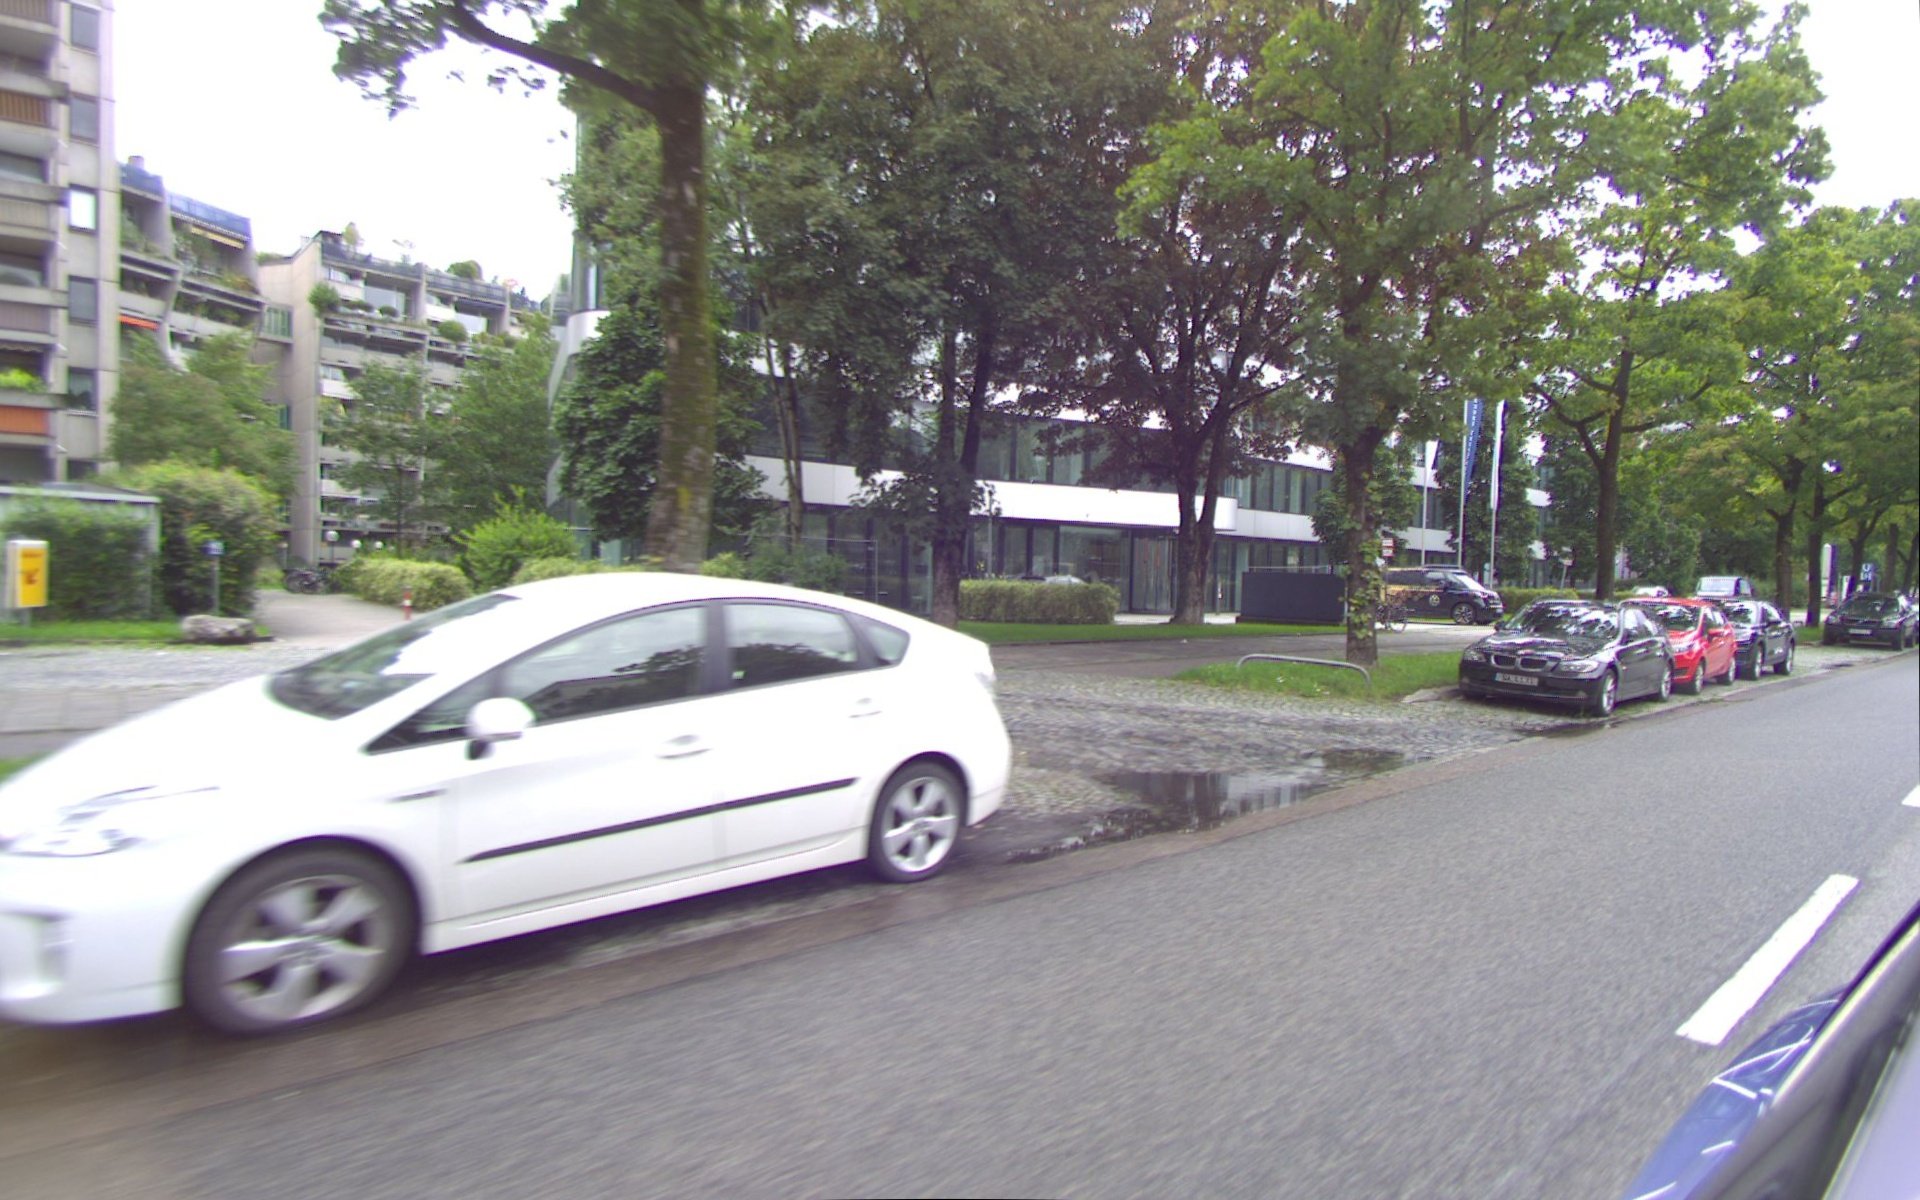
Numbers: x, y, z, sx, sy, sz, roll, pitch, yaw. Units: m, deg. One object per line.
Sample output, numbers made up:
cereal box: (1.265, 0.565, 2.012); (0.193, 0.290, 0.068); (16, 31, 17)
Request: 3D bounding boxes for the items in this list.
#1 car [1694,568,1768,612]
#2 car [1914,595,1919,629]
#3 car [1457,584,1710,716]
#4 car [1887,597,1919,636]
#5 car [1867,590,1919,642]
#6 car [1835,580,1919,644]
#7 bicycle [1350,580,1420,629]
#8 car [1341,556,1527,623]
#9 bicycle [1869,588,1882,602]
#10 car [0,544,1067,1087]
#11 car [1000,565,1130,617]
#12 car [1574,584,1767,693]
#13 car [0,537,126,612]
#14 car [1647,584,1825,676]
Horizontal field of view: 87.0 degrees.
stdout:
car: (44.059, -0.560, 57.745); (6.162, 2.335, 2.268); (0, 3, -43)
car: (42.839, 0.532, 43.878); (4.048, 1.438, 1.705); (0, 3, -41)
car: (8.777, 0.583, 14.088); (4.502, 1.471, 1.679); (0, 4, -41)
car: (38.023, 0.664, 39.694); (4.430, 1.425, 1.707); (0, 2, -38)
car: (34.034, 0.541, 36.012); (4.713, 1.696, 1.818); (0, 2, -39)
car: (29.523, 0.334, 32.167); (4.776, 1.822, 1.896); (0, 3, -41)
bicycle: (10.952, 0.096, 26.053); (2.207, 1.197, 0.750); (0, 2, -41)
car: (16.428, -0.430, 35.377); (2.109, 2.109, 5.481); (0, 2, -41)
bicycle: (84.902, -0.424, 93.831); (1.827, 1.241, 0.532); (1, 2, -37)
car: (-1.718, 0.571, 4.821); (4.552, 1.471, 1.765); (0, 4, -41)
car: (3.446, -0.299, 32.733); (3.979, 1.567, 2.022); (0, 2, -42)
car: (12.000, 0.560, 17.008); (3.951, 1.519, 1.679); (0, 4, -41)
car: (-20.296, -0.558, 21.396); (1.885, 1.539, 3.937); (3, 2, 43)
car: (15.330, 0.522, 19.931); (4.207, 1.529, 1.785); (0, 4, -39)
